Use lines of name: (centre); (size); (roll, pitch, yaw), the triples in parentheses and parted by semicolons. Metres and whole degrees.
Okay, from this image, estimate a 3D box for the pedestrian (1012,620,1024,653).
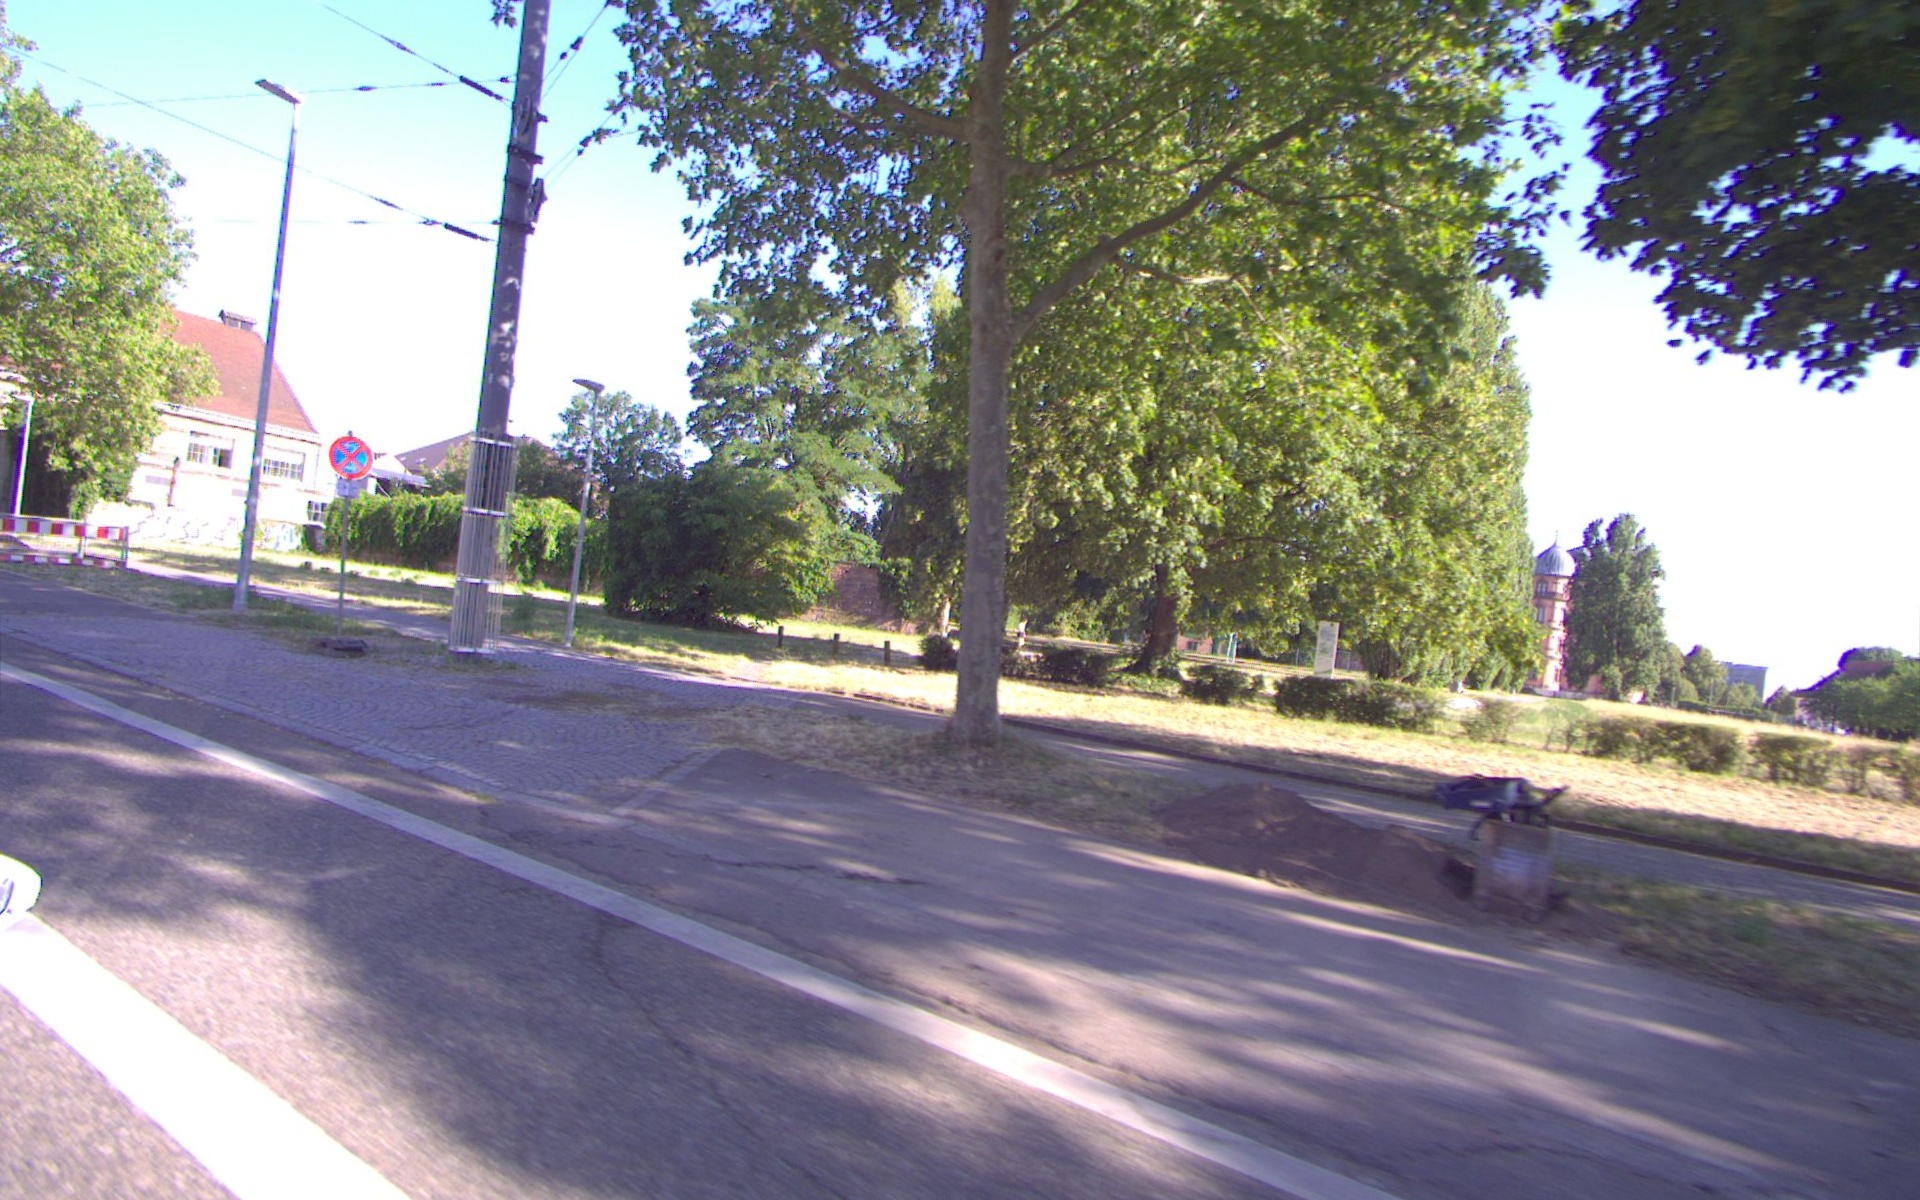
pedestrian: (2.616, 1.624, 45.263); (0.340, 1.437, 0.578); (6, 1, 10)
